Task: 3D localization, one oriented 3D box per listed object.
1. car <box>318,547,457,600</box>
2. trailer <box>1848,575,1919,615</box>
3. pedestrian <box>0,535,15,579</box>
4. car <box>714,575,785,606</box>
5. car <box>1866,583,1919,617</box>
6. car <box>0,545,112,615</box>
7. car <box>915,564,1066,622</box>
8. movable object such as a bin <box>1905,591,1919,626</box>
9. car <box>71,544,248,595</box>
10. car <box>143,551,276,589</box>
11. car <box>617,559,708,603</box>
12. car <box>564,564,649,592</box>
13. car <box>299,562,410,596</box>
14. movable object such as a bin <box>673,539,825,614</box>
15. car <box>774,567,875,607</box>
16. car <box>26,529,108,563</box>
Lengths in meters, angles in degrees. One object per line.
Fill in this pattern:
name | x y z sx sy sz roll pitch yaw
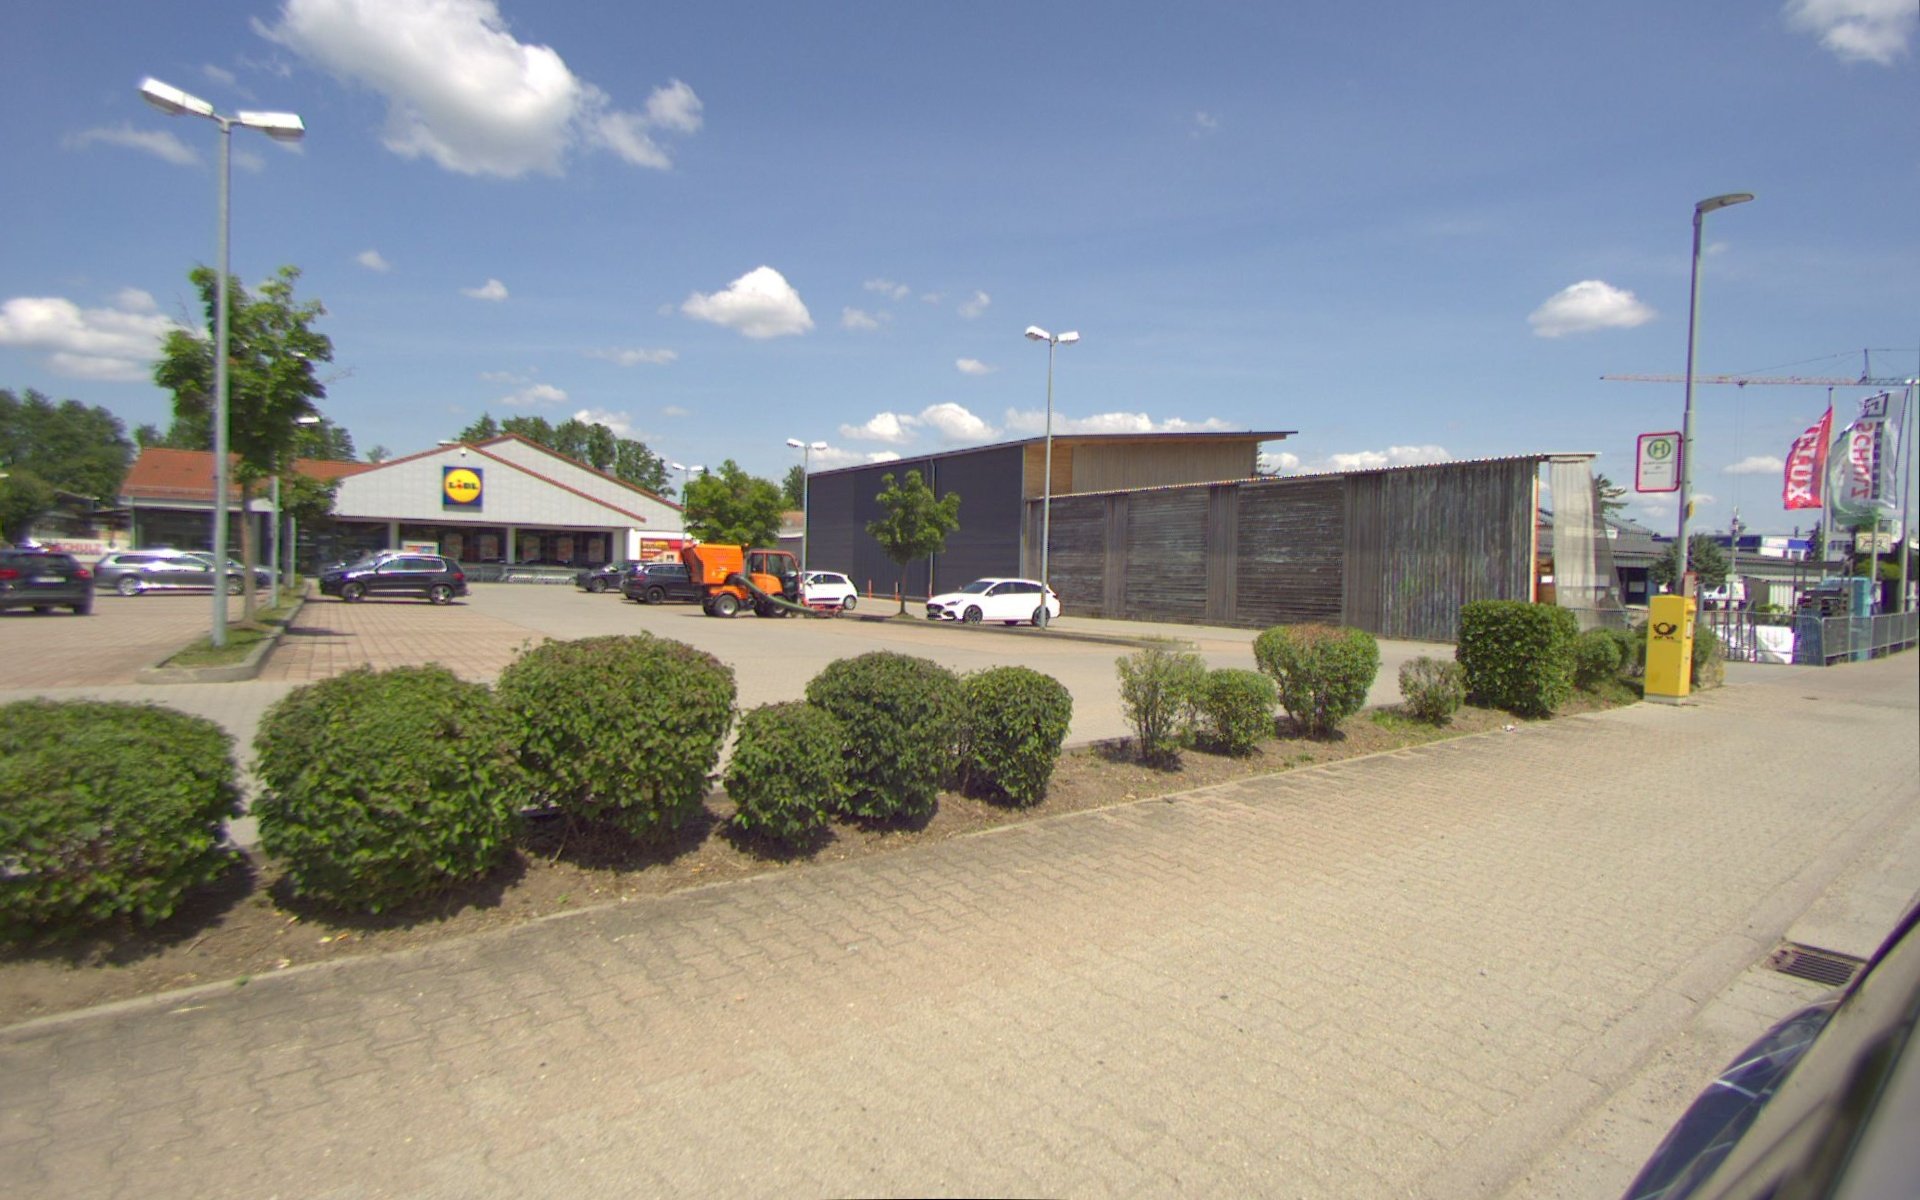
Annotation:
car | -18.951 -0.854 33.618 3.920 1.651 1.587 0 1 -31
trailer | 51.999 -0.274 56.099 1.965 2.040 3.992 7 -4 -42
pedestrian | -46.715 -2.104 49.311 0.897 2.132 0.870 0 1 -41
car | -9.341 -0.440 44.999 1.494 1.325 2.762 2 2 45
car | 50.866 0.016 53.556 1.771 1.653 4.218 -3 5 -43
car | -22.012 -0.515 23.788 3.966 1.513 1.979 2 2 30
car | 0.991 -0.216 31.686 4.352 1.683 2.001 1 1 -34
movable object such as a bin | 42.227 0.363 44.038 1.247 1.476 1.046 0 0 11
car | -26.623 -0.989 33.875 4.530 1.613 1.586 0 1 -34
car | -28.298 -1.121 38.233 3.930 1.325 1.583 0 2 -41
car | -11.950 -0.797 40.656 3.273 1.631 1.514 -2 4 -28
car | -17.201 -1.075 49.294 3.710 1.187 1.618 1 3 -26
car | -26.152 -0.905 43.776 3.930 1.428 1.583 0 2 -41
movable object such as a bin | -6.743 -0.737 32.462 4.429 2.231 1.688 1 2 -28
car | -5.649 -0.559 42.460 3.926 1.593 1.584 0 1 -38
car | -58.486 -3.509 66.367 3.927 2.038 1.999 0 2 -38
